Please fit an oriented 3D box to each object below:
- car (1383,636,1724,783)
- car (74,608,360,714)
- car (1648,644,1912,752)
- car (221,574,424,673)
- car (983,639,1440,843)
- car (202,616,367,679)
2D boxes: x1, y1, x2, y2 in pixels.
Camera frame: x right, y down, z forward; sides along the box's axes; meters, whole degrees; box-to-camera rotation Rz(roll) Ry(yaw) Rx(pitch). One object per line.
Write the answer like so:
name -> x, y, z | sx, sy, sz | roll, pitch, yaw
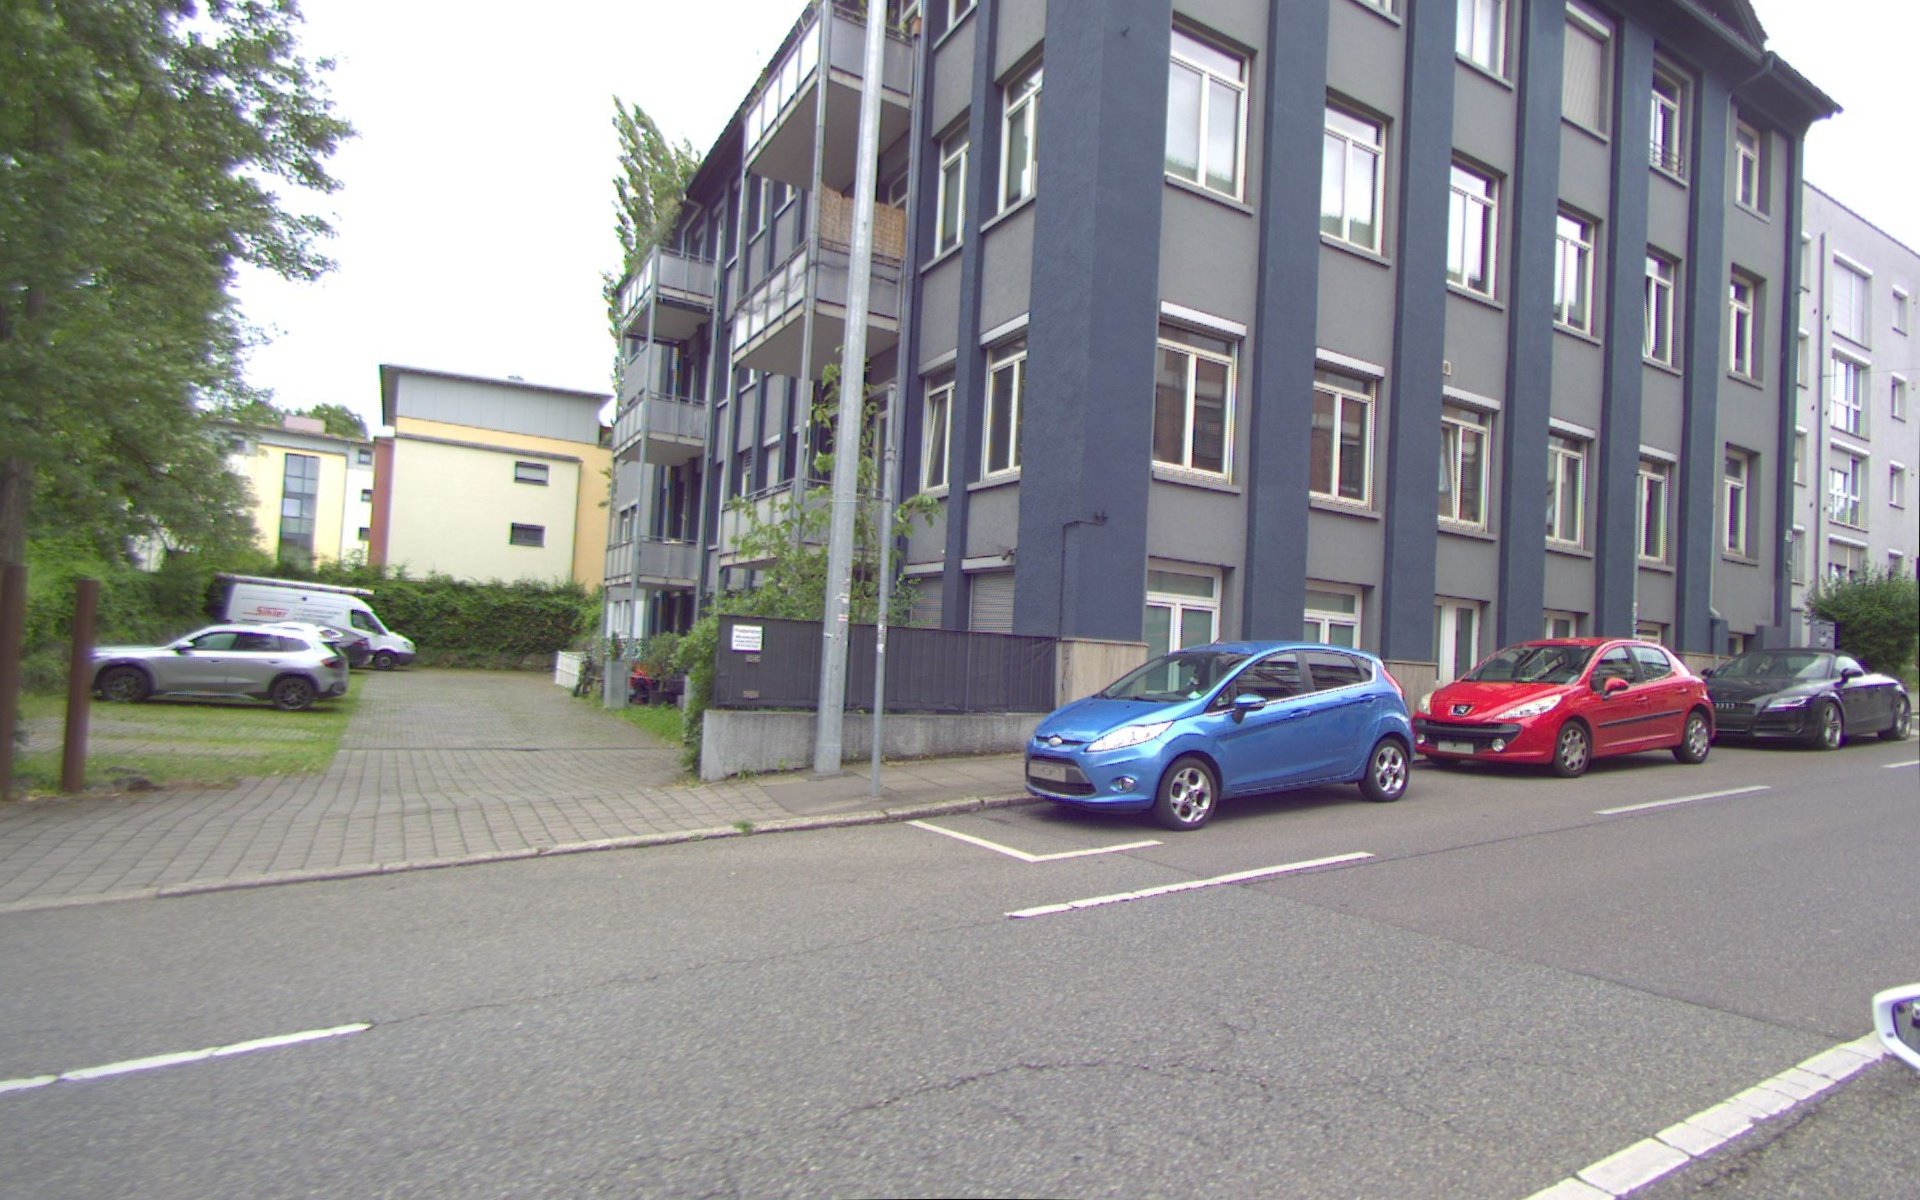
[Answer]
car -> 7.057, 1.187, 11.896 | 3.940, 1.475, 1.707 | 1, -3, -29
car -> -14.923, 1.262, 20.535 | 4.377, 1.750, 1.982 | 7, -3, -33
car -> 11.911, 1.330, 14.550 | 3.858, 1.358, 1.706 | 1, -3, -30
car -> -22.645, 0.869, 35.979 | 5.731, 2.916, 2.397 | 7, -3, -32
car -> 2.323, 1.102, 9.065 | 3.942, 1.442, 1.706 | 1, -3, -30
car -> -20.535, 1.458, 30.748 | 3.941, 1.535, 1.822 | 7, -3, -31
